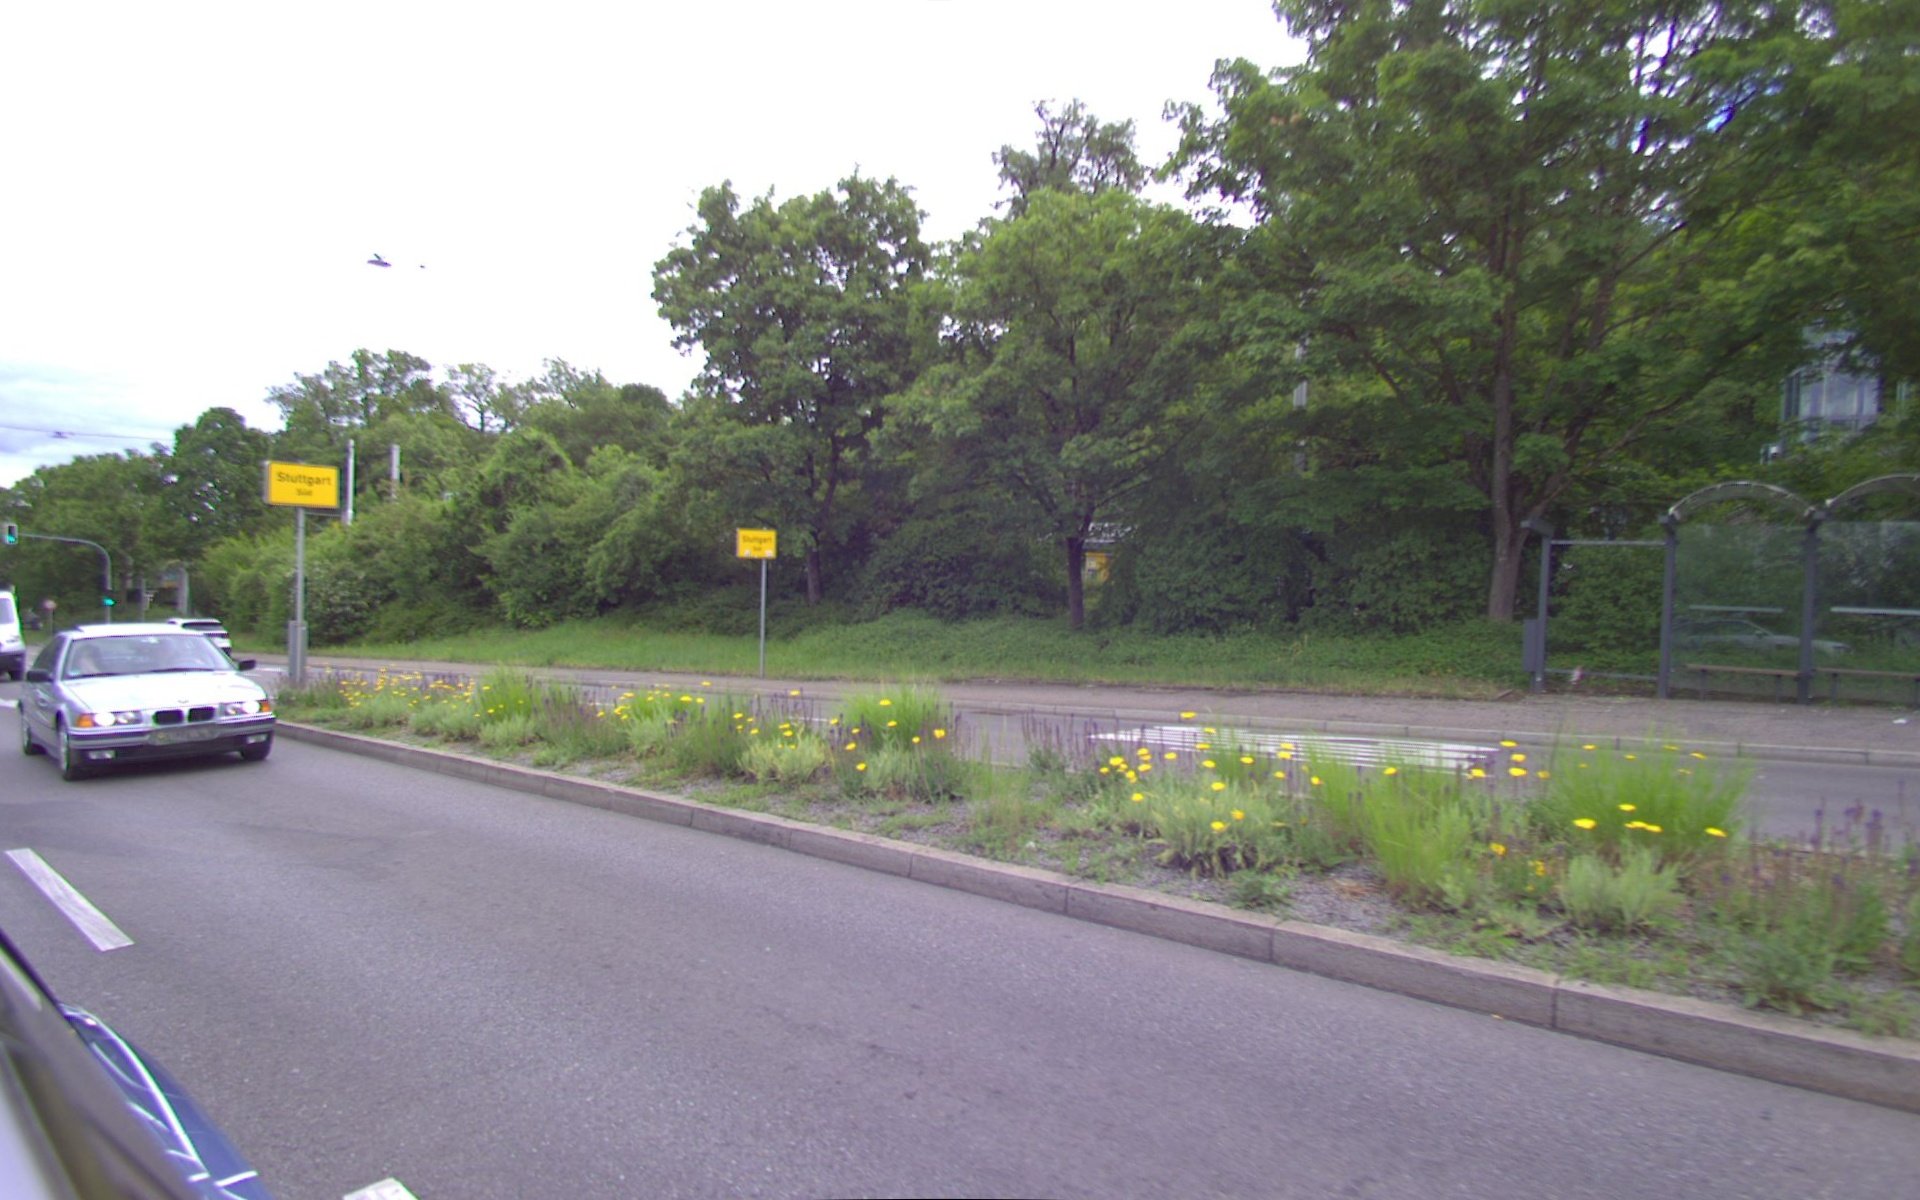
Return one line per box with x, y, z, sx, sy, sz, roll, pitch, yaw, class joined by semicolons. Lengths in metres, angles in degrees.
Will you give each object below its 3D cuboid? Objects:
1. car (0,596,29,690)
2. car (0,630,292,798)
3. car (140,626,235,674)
-25.040;1.063;24.892;6.662;2.142;2.225;-2;-1;39;car
-8.786;1.035;10.764;4.614;1.404;1.734;-2;-2;42;car
-27.696;1.759;36.230;4.037;1.552;1.713;-2;-1;38;car
